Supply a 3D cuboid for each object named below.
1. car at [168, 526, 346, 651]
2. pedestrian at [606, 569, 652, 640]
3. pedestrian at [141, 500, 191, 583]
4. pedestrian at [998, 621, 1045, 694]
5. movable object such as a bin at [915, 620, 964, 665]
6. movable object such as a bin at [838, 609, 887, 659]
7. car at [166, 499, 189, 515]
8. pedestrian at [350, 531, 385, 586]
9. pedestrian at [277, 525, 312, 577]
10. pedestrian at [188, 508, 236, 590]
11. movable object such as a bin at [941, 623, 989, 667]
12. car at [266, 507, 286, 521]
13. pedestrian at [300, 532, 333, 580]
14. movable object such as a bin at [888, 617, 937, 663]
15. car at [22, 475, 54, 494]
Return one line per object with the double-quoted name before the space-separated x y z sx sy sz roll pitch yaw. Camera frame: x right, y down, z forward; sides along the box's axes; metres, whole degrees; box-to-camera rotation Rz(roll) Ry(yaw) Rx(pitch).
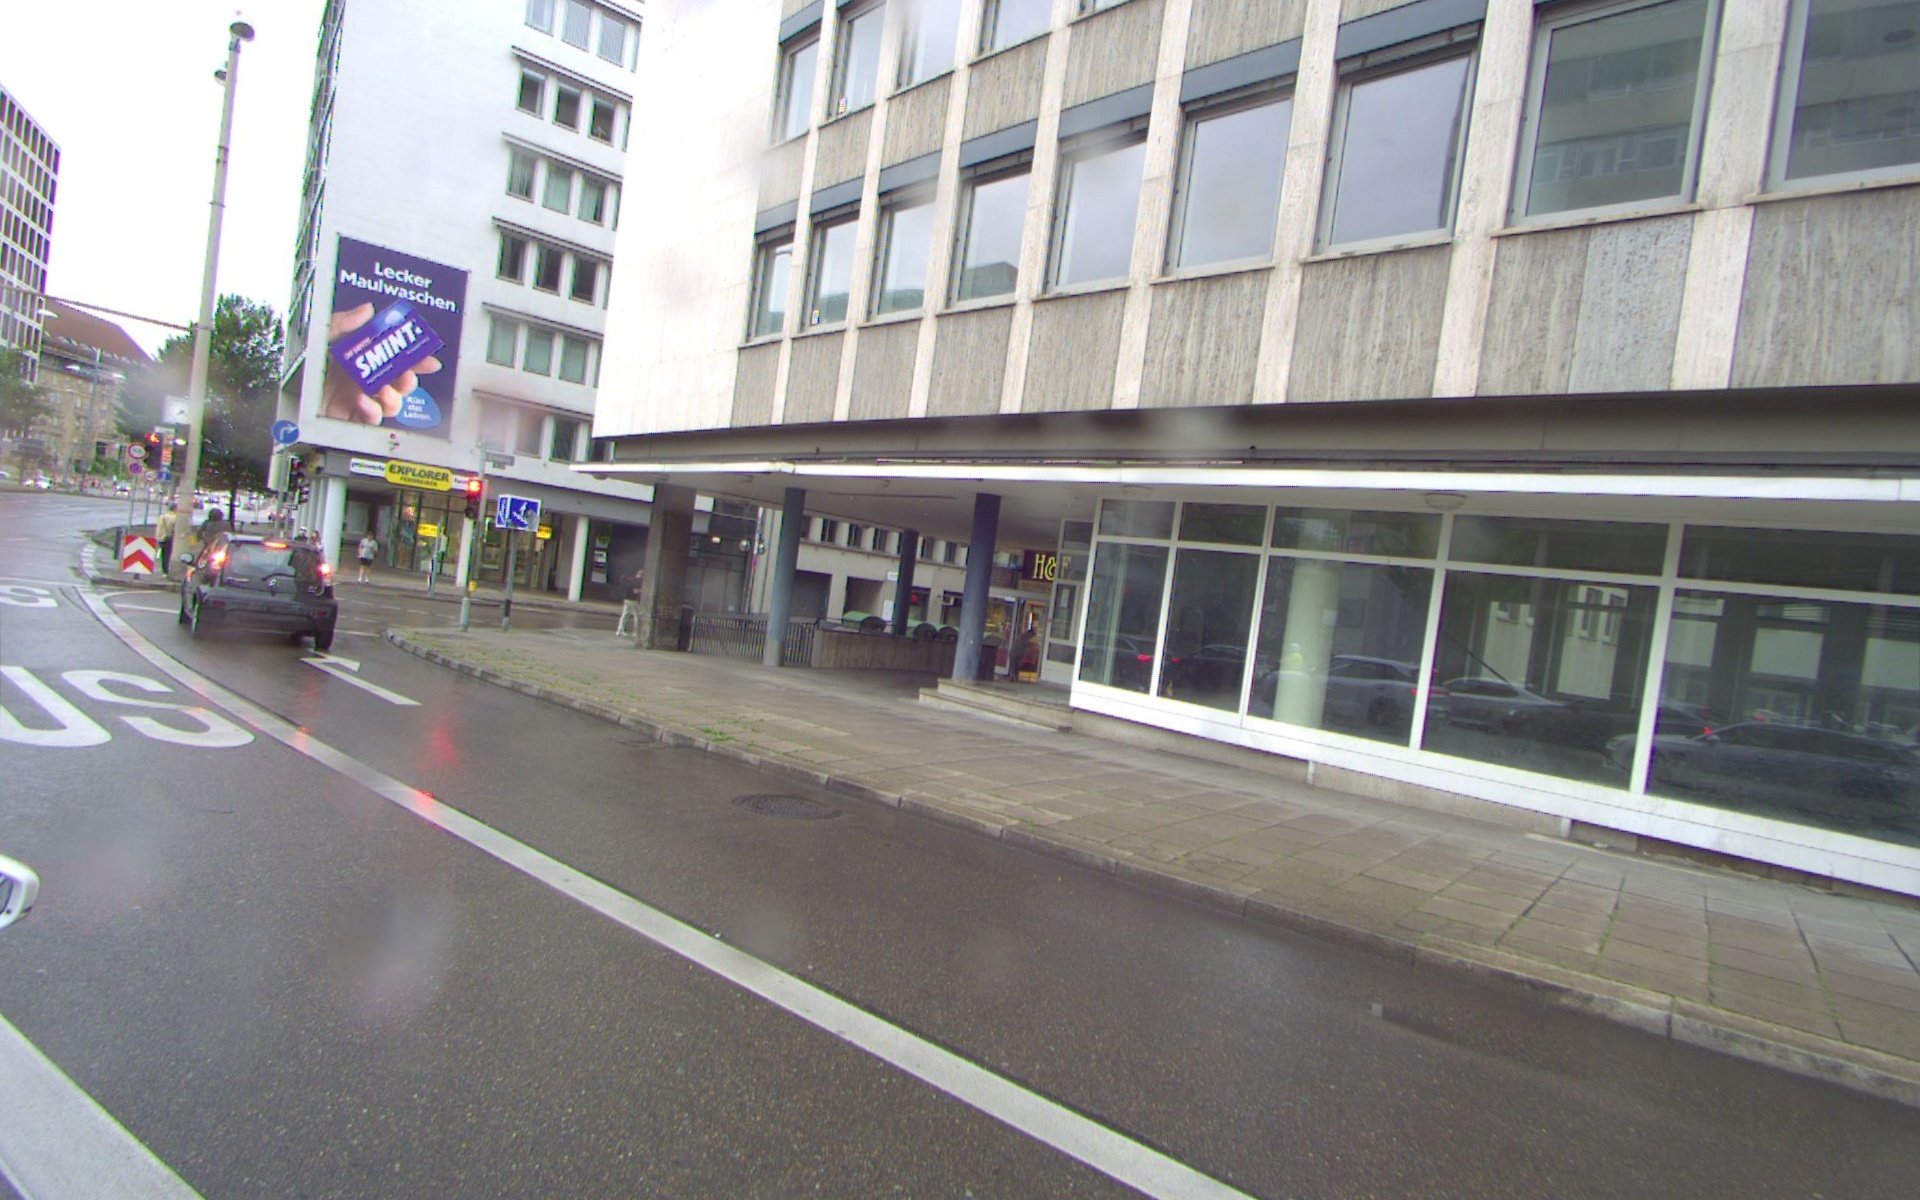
"car" -10.446 -0.231 14.830 1.566 1.446 3.953 9 -2 -42
"pedestrian" -8.715 0.132 26.487 0.768 1.752 0.589 7 0 -44
"pedestrian" -18.678 -1.377 23.688 0.745 1.820 0.808 7 1 -38
"pedestrian" 1.658 1.539 27.024 0.700 1.825 0.797 8 0 40
"movable object such as a bin" -0.736 1.510 35.938 1.094 1.399 1.186 7 1 -37
"movable object such as a bin" -3.259 1.131 33.515 0.961 1.447 1.268 7 1 -36
"car" -98.588 -11.686 126.738 1.877 1.662 3.962 8 -1 -35
"pedestrian" -20.802 -1.434 35.348 0.660 1.815 0.771 7 0 -15
"pedestrian" -22.823 -1.675 34.508 0.660 1.675 0.651 8 0 -15
"pedestrian" -17.704 -1.219 23.818 0.745 1.820 0.808 7 1 -38
"movable object such as a bin" 0.169 1.637 36.626 1.094 1.399 1.186 7 1 -37
"car" -91.558 -11.488 134.652 1.680 1.503 3.973 8 -2 -28
"pedestrian" -22.178 -1.507 34.701 0.616 1.561 0.651 8 0 -15
"movable object such as a bin" -1.665 1.395 35.203 1.094 1.399 1.186 7 1 -37
"car" -90.913 -11.352 99.252 1.622 1.454 3.871 8 0 -34
